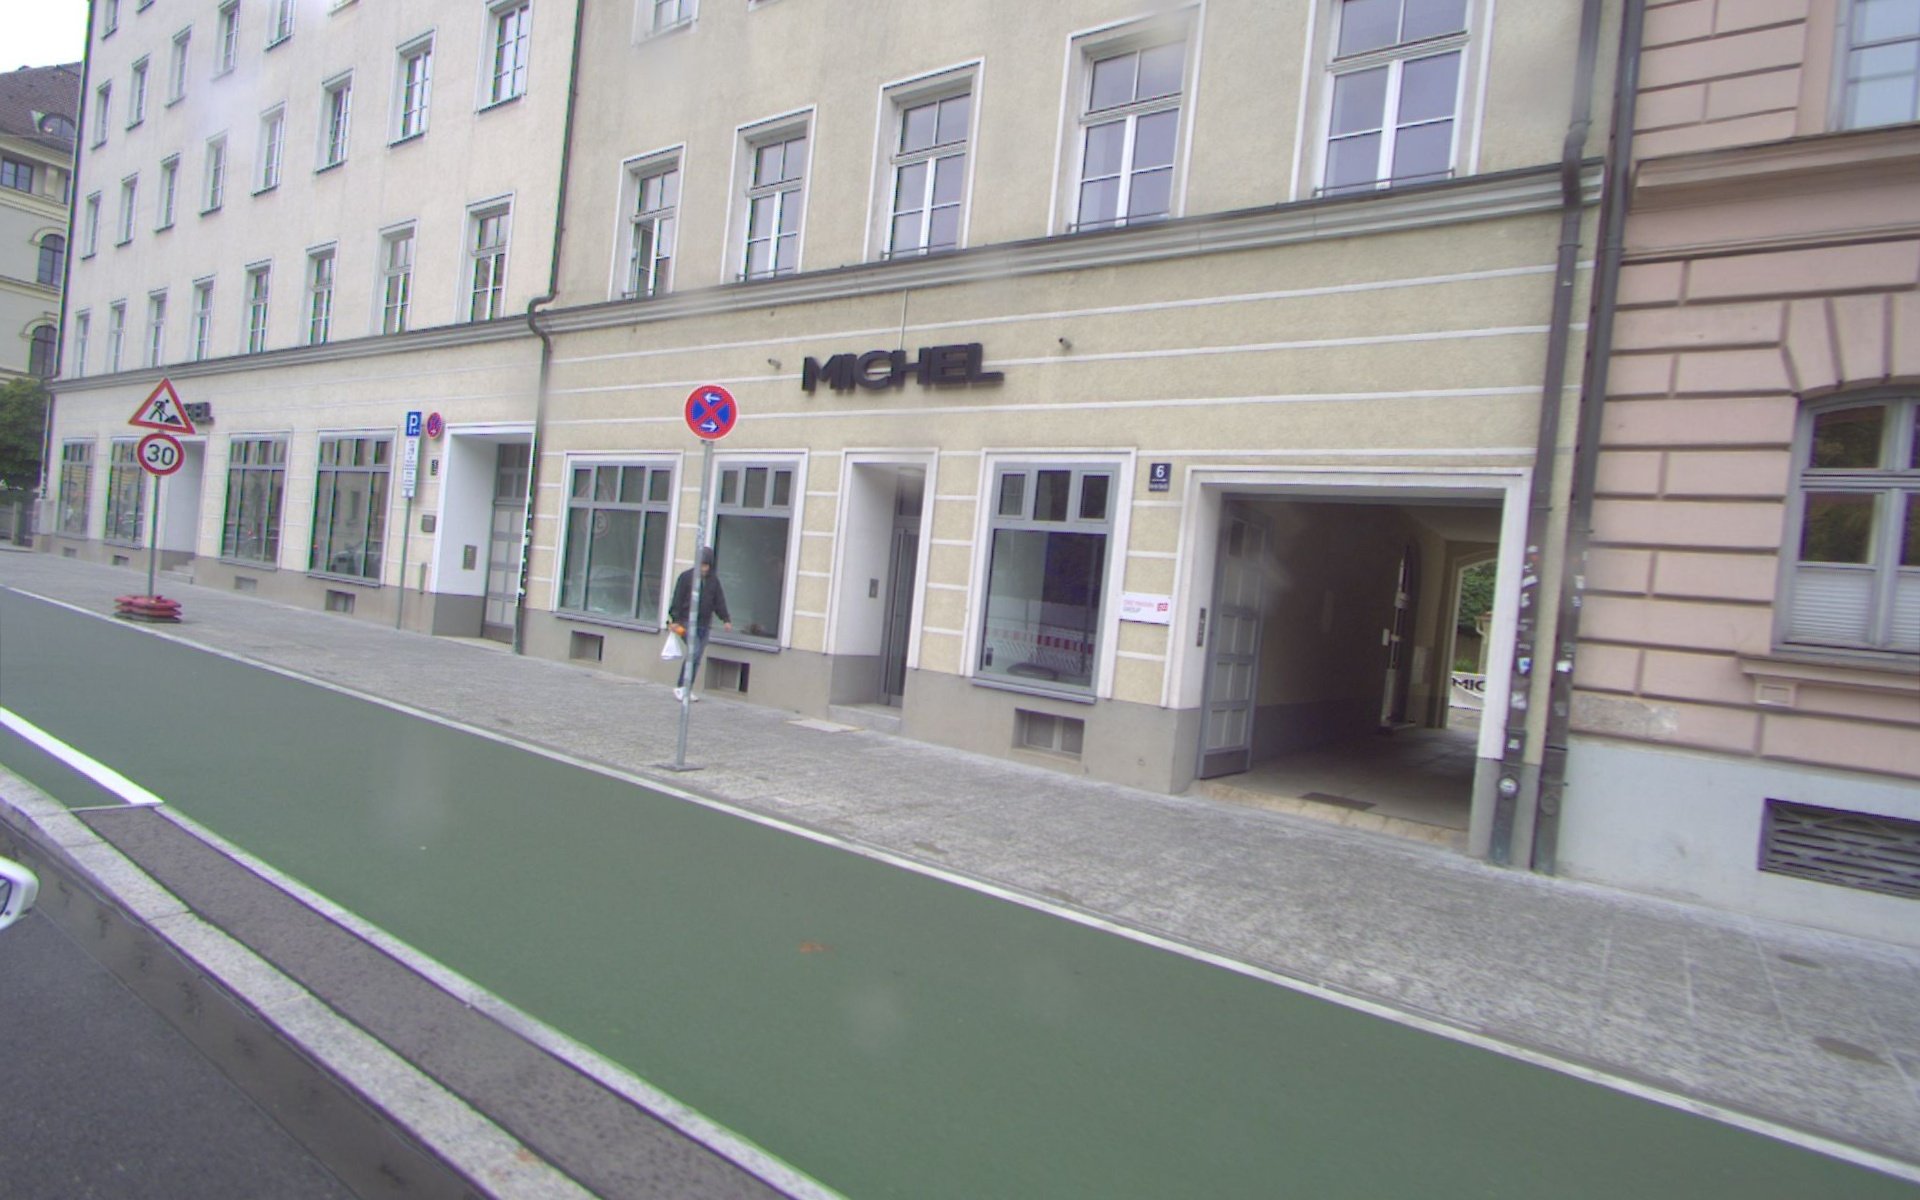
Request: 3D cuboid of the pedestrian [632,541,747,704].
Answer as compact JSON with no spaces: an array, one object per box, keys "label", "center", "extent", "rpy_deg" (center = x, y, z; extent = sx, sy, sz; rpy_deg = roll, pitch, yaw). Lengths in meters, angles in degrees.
[{"label":"pedestrian","center":[-3.128,0.262,11.663],"extent":[0.820,1.768,0.793],"rpy_deg":[7,1,35]}]
